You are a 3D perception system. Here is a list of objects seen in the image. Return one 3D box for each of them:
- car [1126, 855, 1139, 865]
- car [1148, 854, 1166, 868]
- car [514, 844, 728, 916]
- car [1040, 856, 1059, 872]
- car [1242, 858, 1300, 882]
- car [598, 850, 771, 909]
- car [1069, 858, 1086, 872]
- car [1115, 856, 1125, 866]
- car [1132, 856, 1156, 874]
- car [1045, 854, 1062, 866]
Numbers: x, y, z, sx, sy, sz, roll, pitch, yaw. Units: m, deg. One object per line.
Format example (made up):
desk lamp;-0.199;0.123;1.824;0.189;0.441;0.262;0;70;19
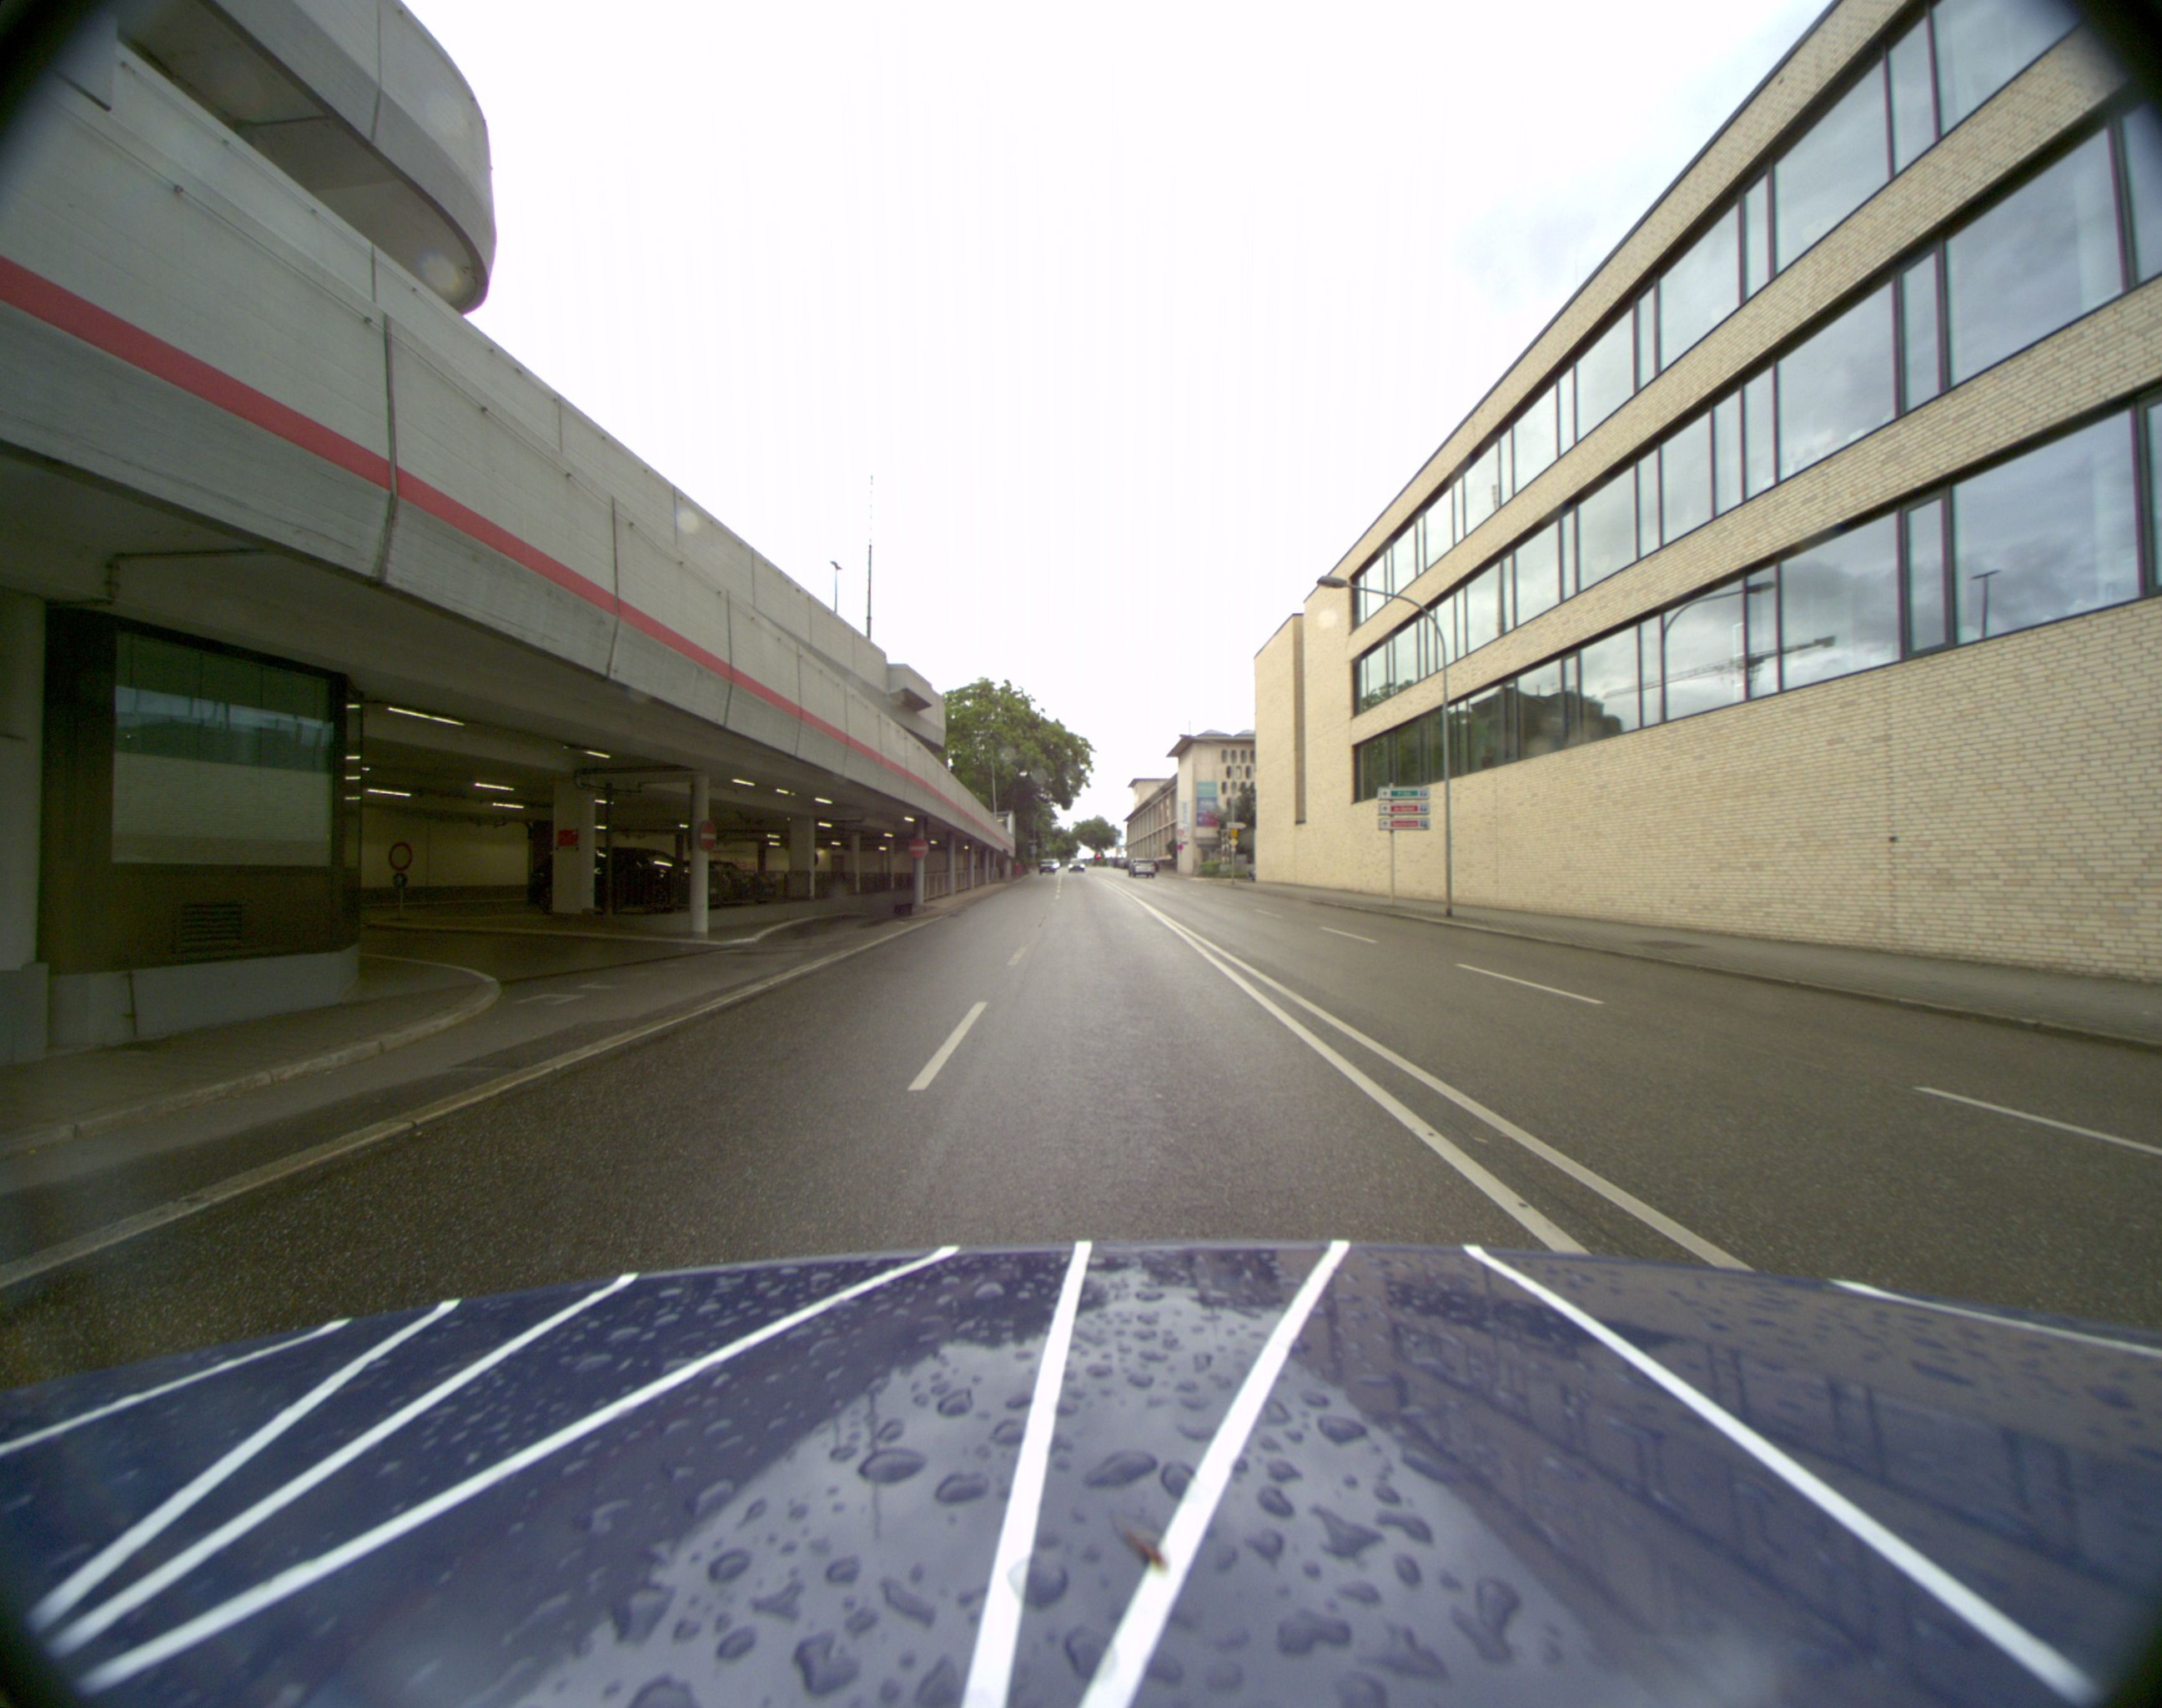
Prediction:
car;8.228;0.999;121.546;1.800;1.516;4.056;-2;-1;1
car;9.070;0.820;91.237;1.800;1.516;4.056;-2;-1;1
car;-11.391;0.697;18.972;4.251;1.650;2.003;-1;-4;10
car;-3.306;1.049;79.549;1.683;1.516;3.990;-2;-1;1
car;14.058;1.192;56.098;3.991;1.652;1.863;-1;0;18
car;-11.921;0.820;22.996;4.251;1.650;2.003;-1;-4;10
car;-0.413;1.220;87.753;1.852;1.516;3.990;-2;-1;1
car;7.329;1.254;142.489;1.698;1.715;3.756;-2;1;1
car;5.464;0.946;66.285;1.800;1.516;4.056;-2;-1;1
car;-3.497;0.788;97.681;1.915;1.443;4.036;-2;1;0
